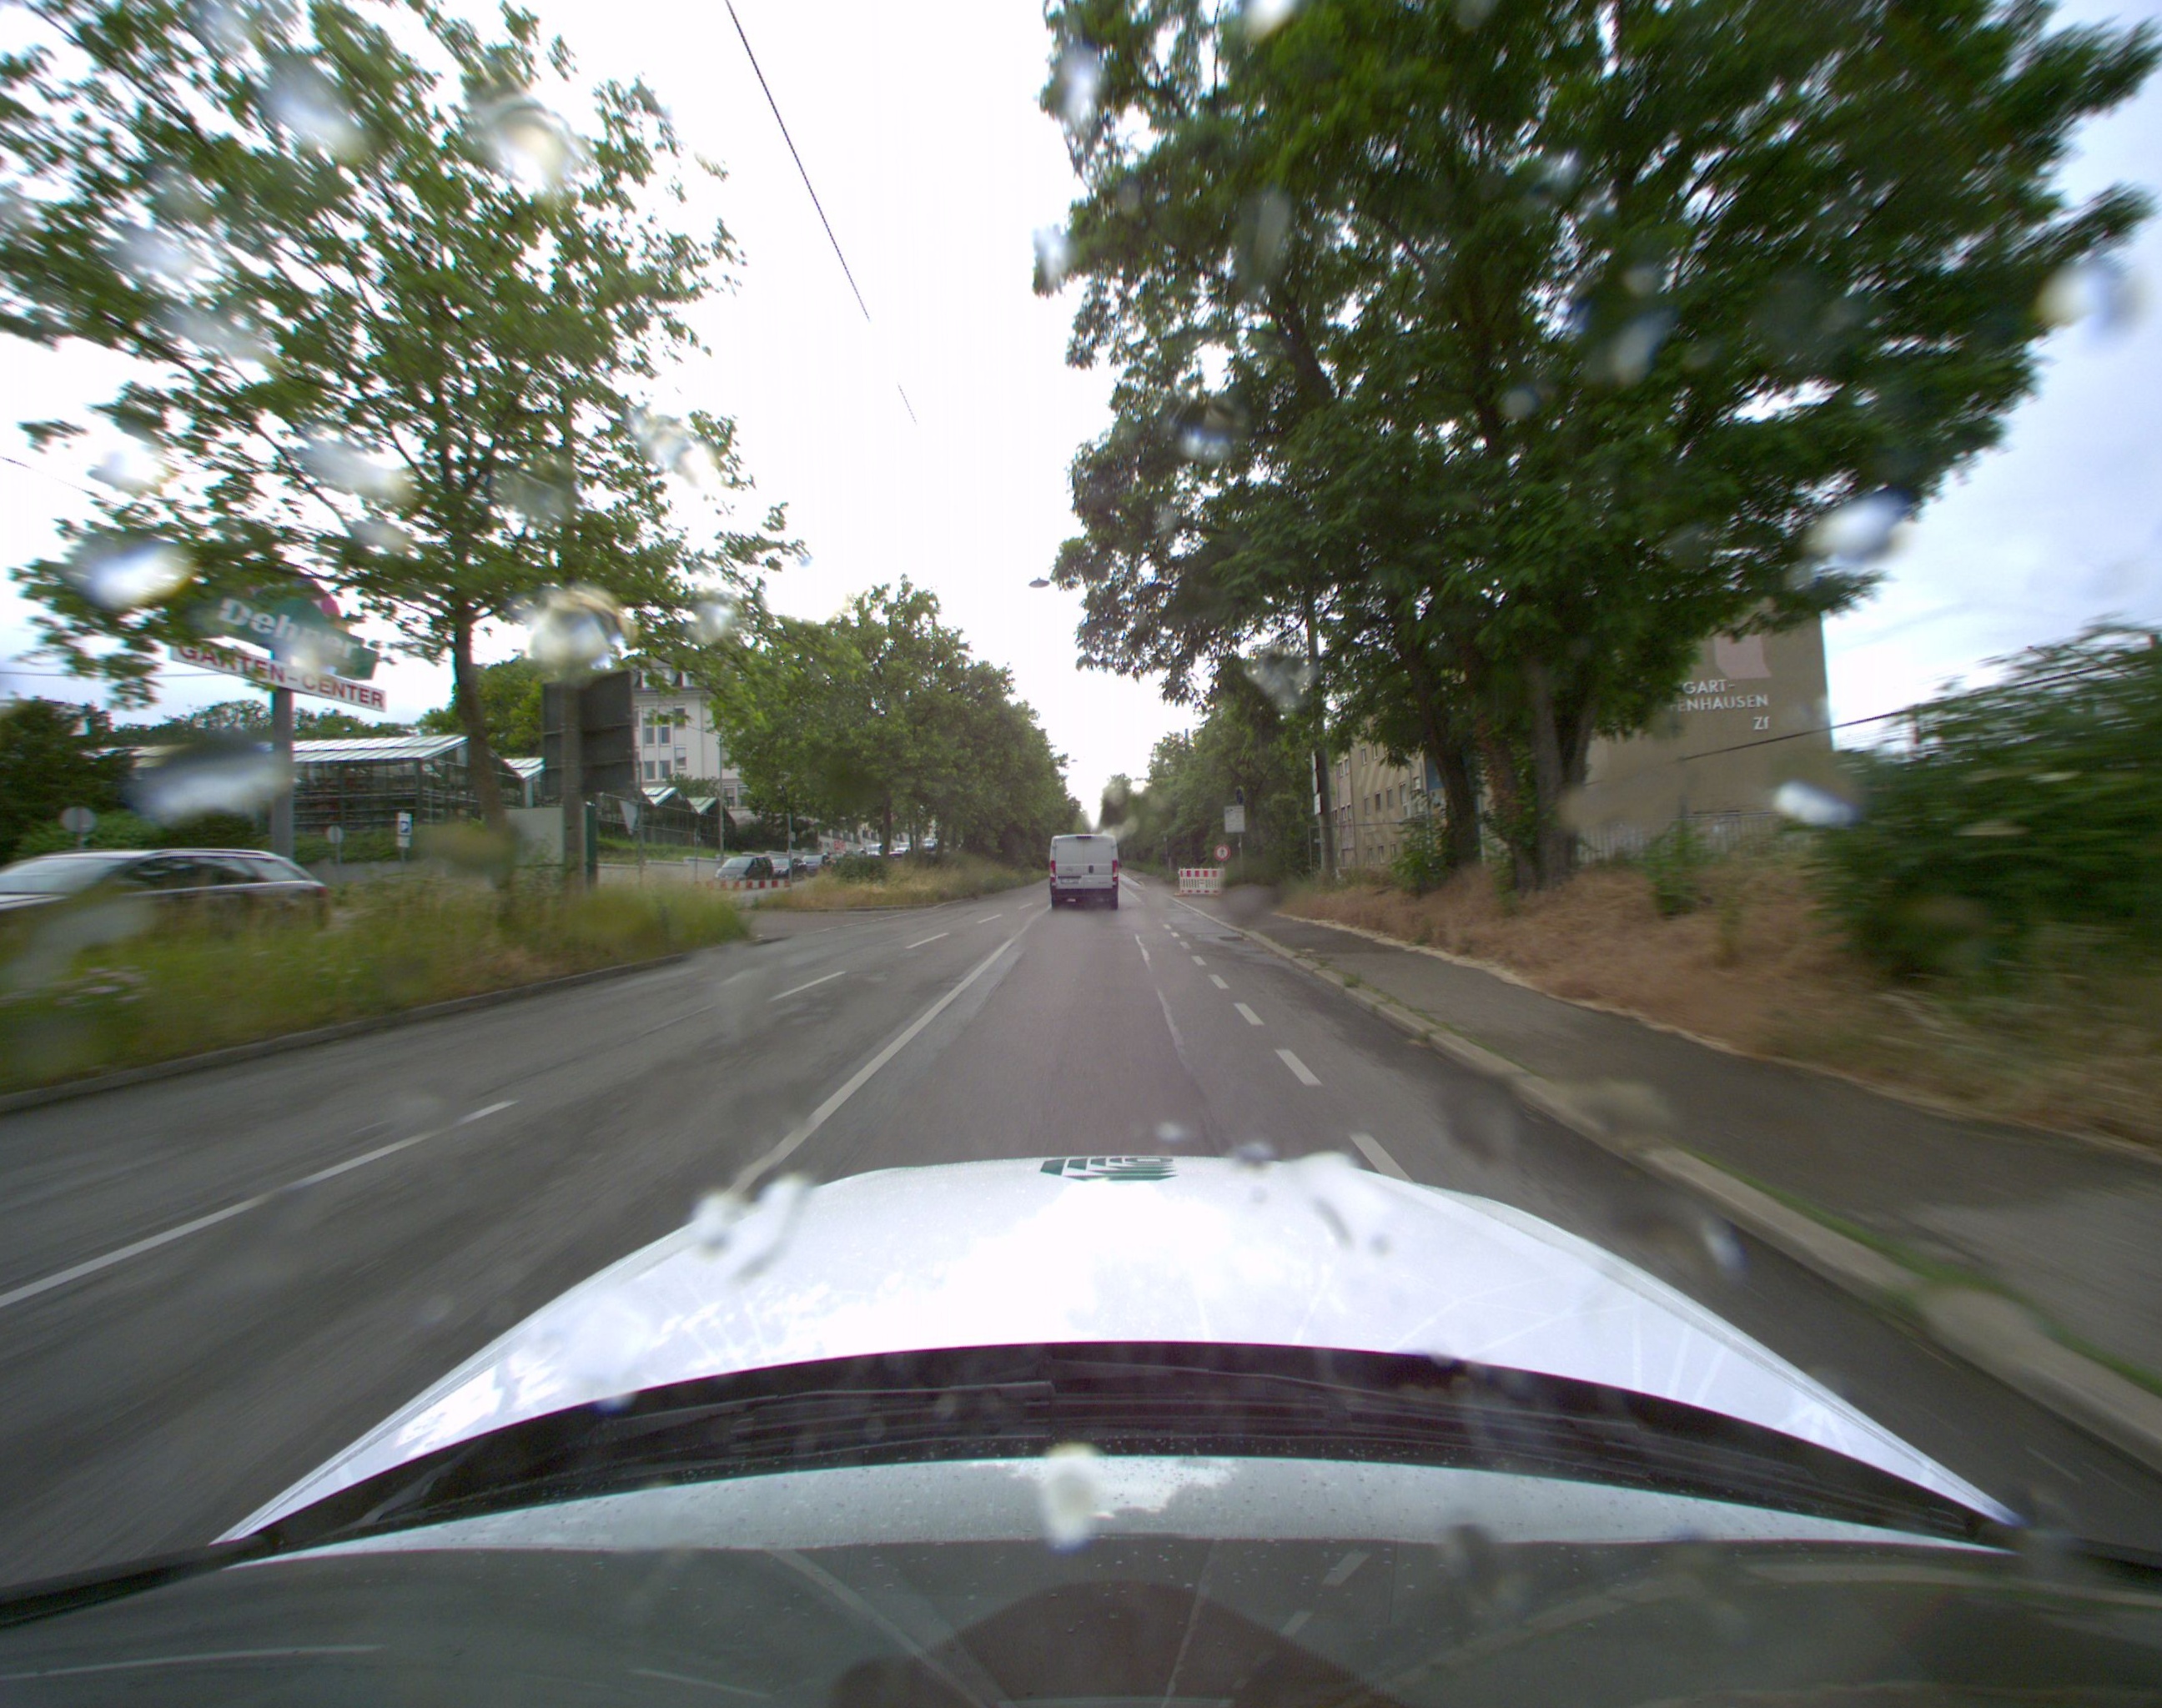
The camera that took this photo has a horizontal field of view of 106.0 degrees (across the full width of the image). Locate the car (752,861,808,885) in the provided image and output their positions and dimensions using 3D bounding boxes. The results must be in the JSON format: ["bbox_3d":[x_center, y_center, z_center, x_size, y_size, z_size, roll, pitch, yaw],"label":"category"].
[{"bbox_3d":[-17.847,1.138,48.517,1.810,1.291,4.119,-2,-2,-1],"label":"car"}]

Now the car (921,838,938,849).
[{"bbox_3d":[-19.039,-1.305,102.180,1.595,1.250,2.908,-2,-2,-2],"label":"car"}]

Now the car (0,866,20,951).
[{"bbox_3d":[-17.403,0.798,10.654,1.396,1.318,4.278,-3,-2,0],"label":"car"}]

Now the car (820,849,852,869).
[{"bbox_3d":[-18.076,0.361,60.144,1.355,1.310,3.086,-3,-2,1],"label":"car"}]

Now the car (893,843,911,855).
[{"bbox_3d":[-18.833,-0.519,85.648,1.209,1.133,2.452,-3,-2,1],"label":"car"}]

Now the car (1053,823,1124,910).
[{"bbox_3d":[0.283,0.348,26.179,2.042,2.516,4.945,1,0,1],"label":"car"}]

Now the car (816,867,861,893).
[{"bbox_3d":[-11.669,1.261,39.347,1.346,1.131,2.751,-2,-2,-1],"label":"car"}]

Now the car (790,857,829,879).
[{"bbox_3d":[-17.740,0.962,53.249,1.460,1.291,3.302,-2,-2,-1],"label":"car"}]

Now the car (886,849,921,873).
[{"bbox_3d":[-11.336,0.464,52.199,1.430,1.361,3.174,-3,-2,0],"label":"car"}]

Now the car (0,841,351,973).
[{"bbox_3d":[-11.325,0.607,9.423,1.531,1.293,4.546,-3,-2,2],"label":"car"}]

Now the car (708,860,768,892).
[{"bbox_3d":[-17.629,1.163,42.020,1.644,1.487,3.514,-2,-2,-1],"label":"car"}]

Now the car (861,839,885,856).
[{"bbox_3d":[-18.331,-0.550,71.707,1.379,1.298,3.012,-2,-2,-2],"label":"car"}]
